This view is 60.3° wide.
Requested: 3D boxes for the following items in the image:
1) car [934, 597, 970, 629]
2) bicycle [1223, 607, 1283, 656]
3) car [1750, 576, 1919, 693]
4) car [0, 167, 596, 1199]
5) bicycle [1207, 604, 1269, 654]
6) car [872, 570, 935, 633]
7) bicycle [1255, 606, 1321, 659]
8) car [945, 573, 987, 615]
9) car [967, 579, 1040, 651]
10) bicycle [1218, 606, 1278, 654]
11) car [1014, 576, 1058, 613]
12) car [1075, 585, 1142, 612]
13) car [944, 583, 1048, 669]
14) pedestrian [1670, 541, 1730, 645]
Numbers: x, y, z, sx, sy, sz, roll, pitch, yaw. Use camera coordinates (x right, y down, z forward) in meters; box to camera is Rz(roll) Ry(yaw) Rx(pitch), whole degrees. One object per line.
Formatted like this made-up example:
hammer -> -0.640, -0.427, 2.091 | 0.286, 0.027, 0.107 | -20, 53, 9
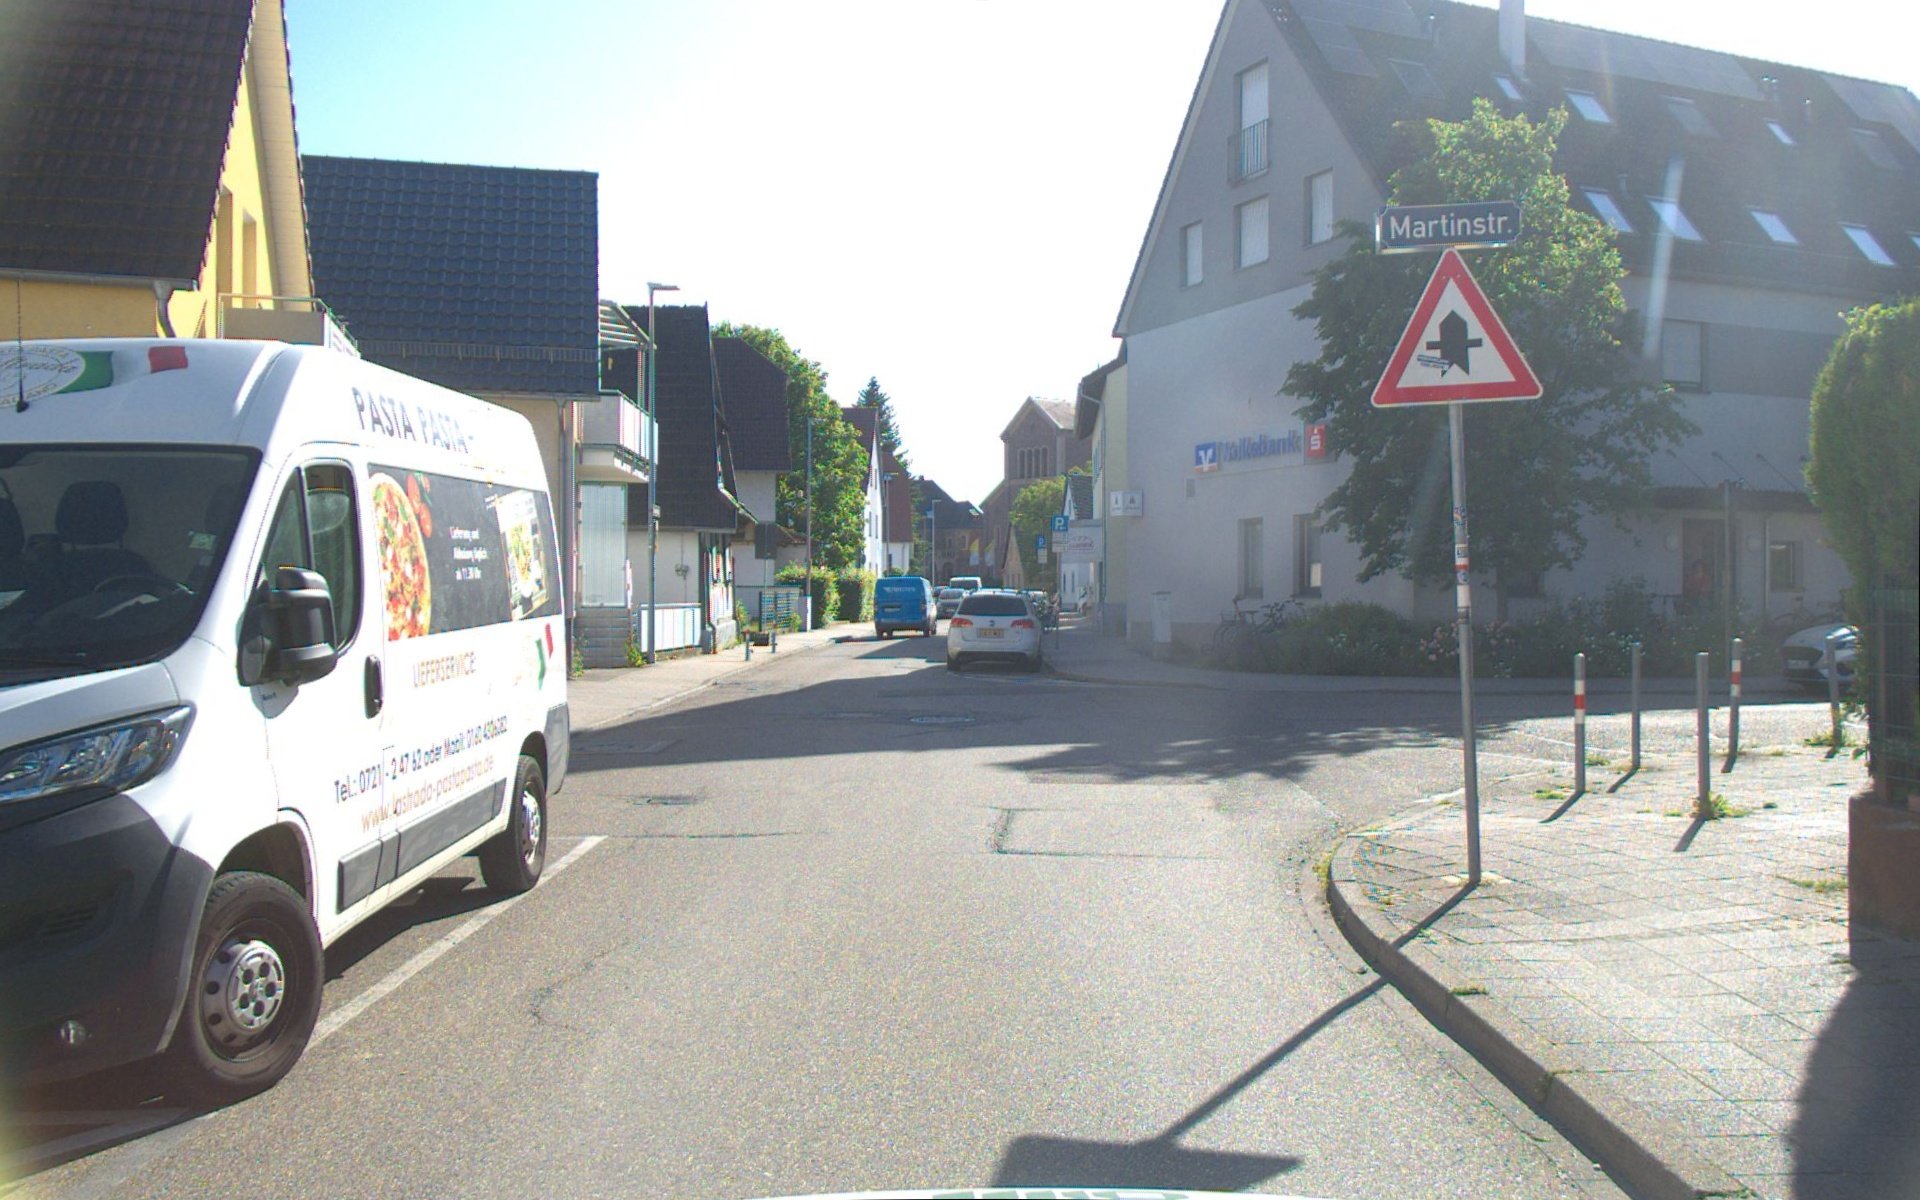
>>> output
car -> -0.402, 0.687, 90.380 | 1.679, 1.626, 3.927 | -1, 0, 4
bicycle -> 5.693, 0.617, 32.142 | 1.138, 0.936, 0.313 | -1, 0, 9
car -> 13.528, 0.427, 23.114 | 4.211, 1.520, 1.811 | -1, 1, -9
car -> -3.133, 0.208, 6.699 | 2.207, 2.513, 5.514 | -1, 0, -2
bicycle -> 5.618, 0.580, 33.419 | 1.196, 0.992, 0.320 | -1, 0, 15
car -> -1.825, 0.021, 55.085 | 1.863, 1.951, 5.070 | -2, 0, 0
bicycle -> 6.027, 0.594, 30.416 | 1.139, 0.936, 0.313 | -1, 0, -1
car -> 0.410, -0.418, 102.532 | 2.151, 2.431, 6.067 | -2, 0, 4
car -> 0.980, 0.315, 38.447 | 1.577, 1.547, 3.972 | 1, 0, 1
bicycle -> 5.697, 0.588, 32.740 | 1.138, 0.936, 0.313 | -1, 0, 9
car -> 3.210, -0.235, 70.055 | 1.774, 1.501, 4.661 | 0, 0, 2
car -> 8.952, -0.106, 99.665 | 3.828, 1.518, 1.849 | -1, 0, 12
car -> 0.776, 0.457, 32.279 | 1.807, 1.540, 4.509 | 0, 1, 4
pedestrian -> 14.764, -0.148, 33.012 | 0.759, 2.049, 0.763 | -1, 0, -15
